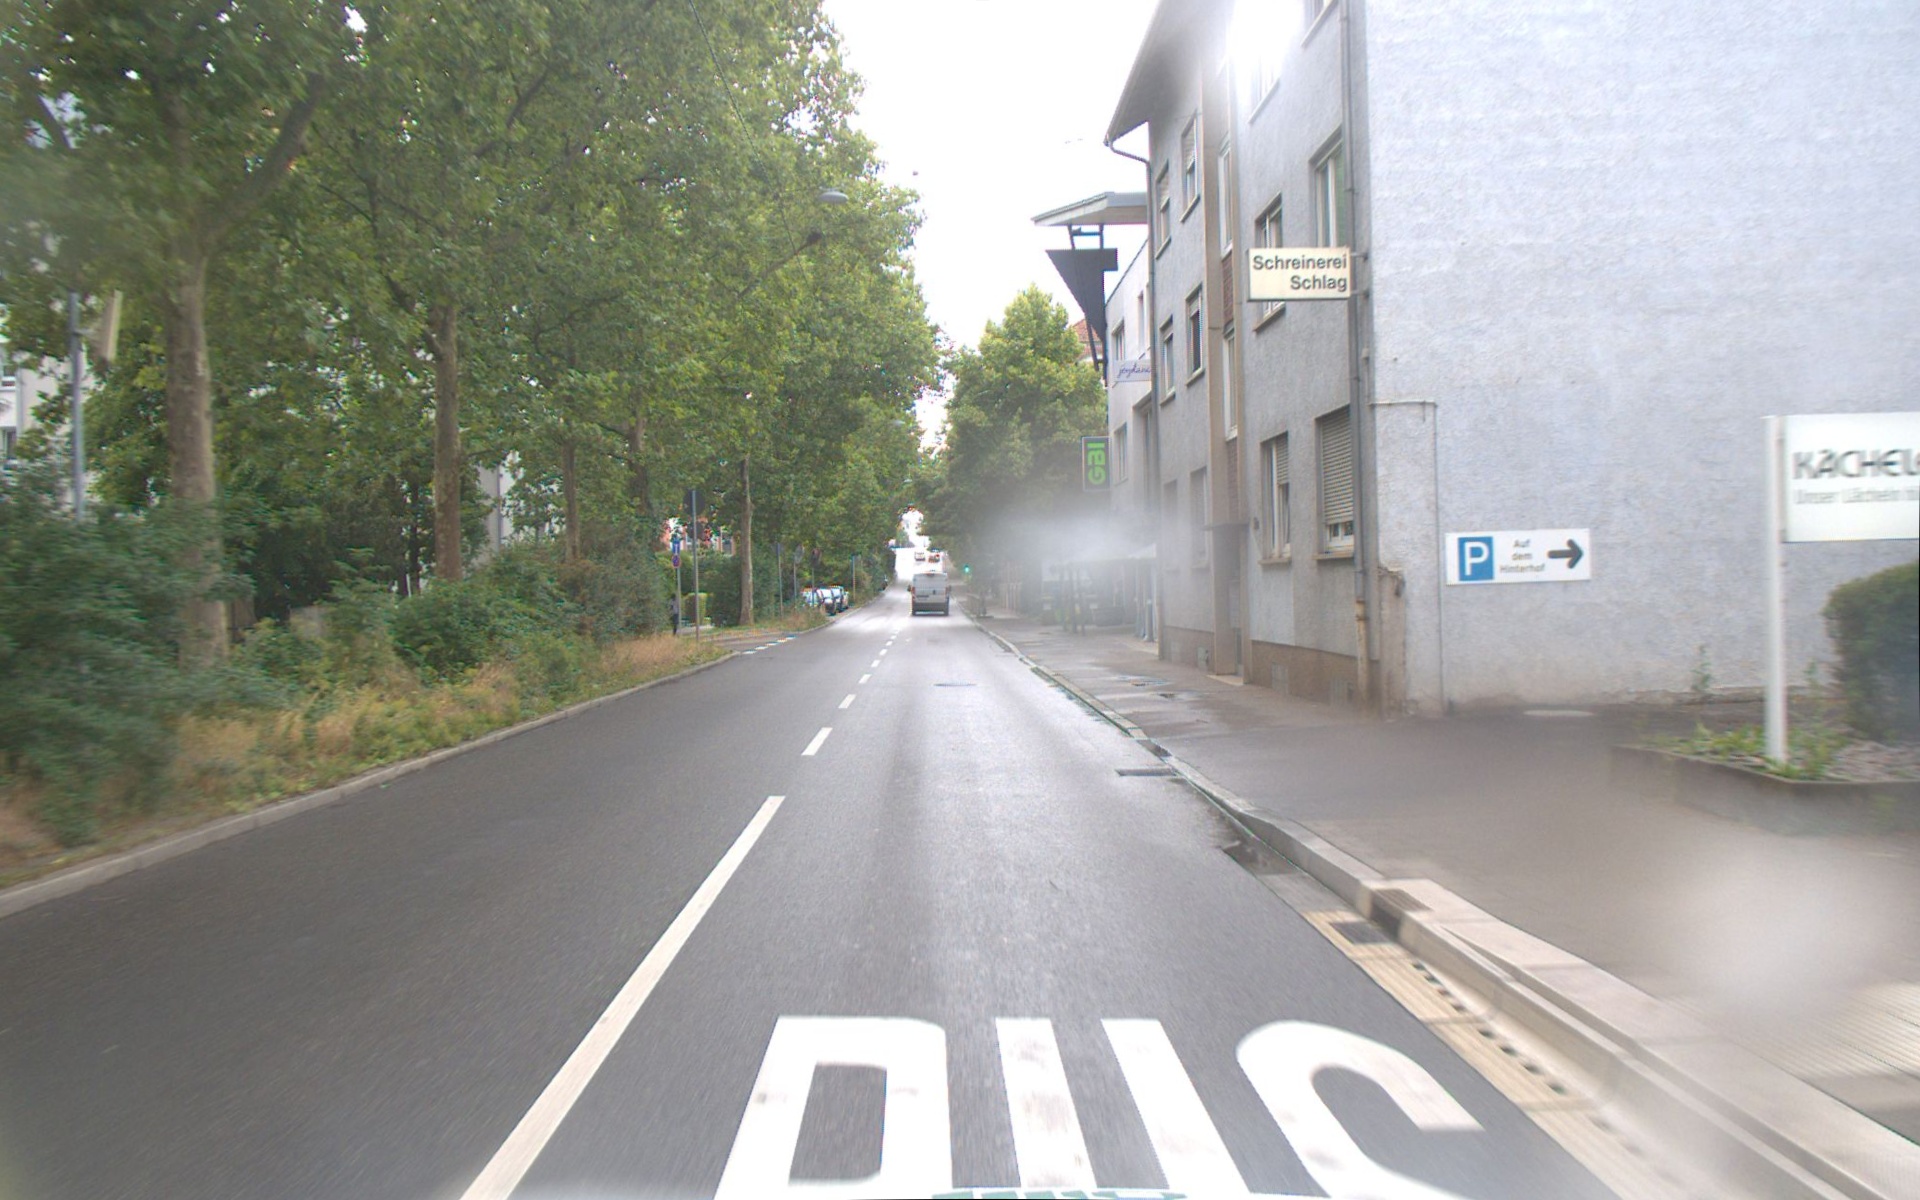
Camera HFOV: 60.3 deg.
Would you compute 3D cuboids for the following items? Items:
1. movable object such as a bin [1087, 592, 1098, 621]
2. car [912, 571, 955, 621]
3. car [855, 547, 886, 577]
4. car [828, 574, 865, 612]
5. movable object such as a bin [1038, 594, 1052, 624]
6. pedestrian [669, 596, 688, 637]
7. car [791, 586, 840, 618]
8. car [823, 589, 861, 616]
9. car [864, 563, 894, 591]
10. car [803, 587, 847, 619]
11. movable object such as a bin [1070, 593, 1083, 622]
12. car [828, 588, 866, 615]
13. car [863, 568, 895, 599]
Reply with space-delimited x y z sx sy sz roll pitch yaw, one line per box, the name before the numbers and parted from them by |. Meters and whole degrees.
movable object such as a bin | 5.045 0.248 62.997 0.349 1.085 0.358 0 -2 -7
car | -1.428 -0.186 89.781 2.236 2.597 3.999 -1 -2 -1
car | -7.417 -3.146 137.500 2.170 2.334 4.609 0 -1 1
car | -7.978 -0.485 116.774 2.170 2.578 4.609 0 -1 1
movable object such as a bin | 3.248 0.341 62.922 0.392 1.085 0.358 -4 -1 -7
pedestrian | -11.011 0.643 64.653 0.667 1.598 0.622 0 -1 -4
car | -7.993 0.124 91.829 2.170 1.620 4.609 0 -2 1
car | -7.497 0.180 105.433 1.954 1.570 4.609 0 -2 1
car | -7.063 -1.987 144.408 2.169 2.334 4.610 0 -2 3
car | -7.966 0.187 98.048 2.170 1.759 4.609 0 -2 1
movable object such as a bin | 4.428 0.273 62.957 0.392 1.085 0.358 -1 -2 -7
car | -7.587 0.139 111.477 2.170 1.721 4.609 0 -2 1
car | -6.327 -1.268 129.598 2.170 2.334 4.609 0 -1 1
